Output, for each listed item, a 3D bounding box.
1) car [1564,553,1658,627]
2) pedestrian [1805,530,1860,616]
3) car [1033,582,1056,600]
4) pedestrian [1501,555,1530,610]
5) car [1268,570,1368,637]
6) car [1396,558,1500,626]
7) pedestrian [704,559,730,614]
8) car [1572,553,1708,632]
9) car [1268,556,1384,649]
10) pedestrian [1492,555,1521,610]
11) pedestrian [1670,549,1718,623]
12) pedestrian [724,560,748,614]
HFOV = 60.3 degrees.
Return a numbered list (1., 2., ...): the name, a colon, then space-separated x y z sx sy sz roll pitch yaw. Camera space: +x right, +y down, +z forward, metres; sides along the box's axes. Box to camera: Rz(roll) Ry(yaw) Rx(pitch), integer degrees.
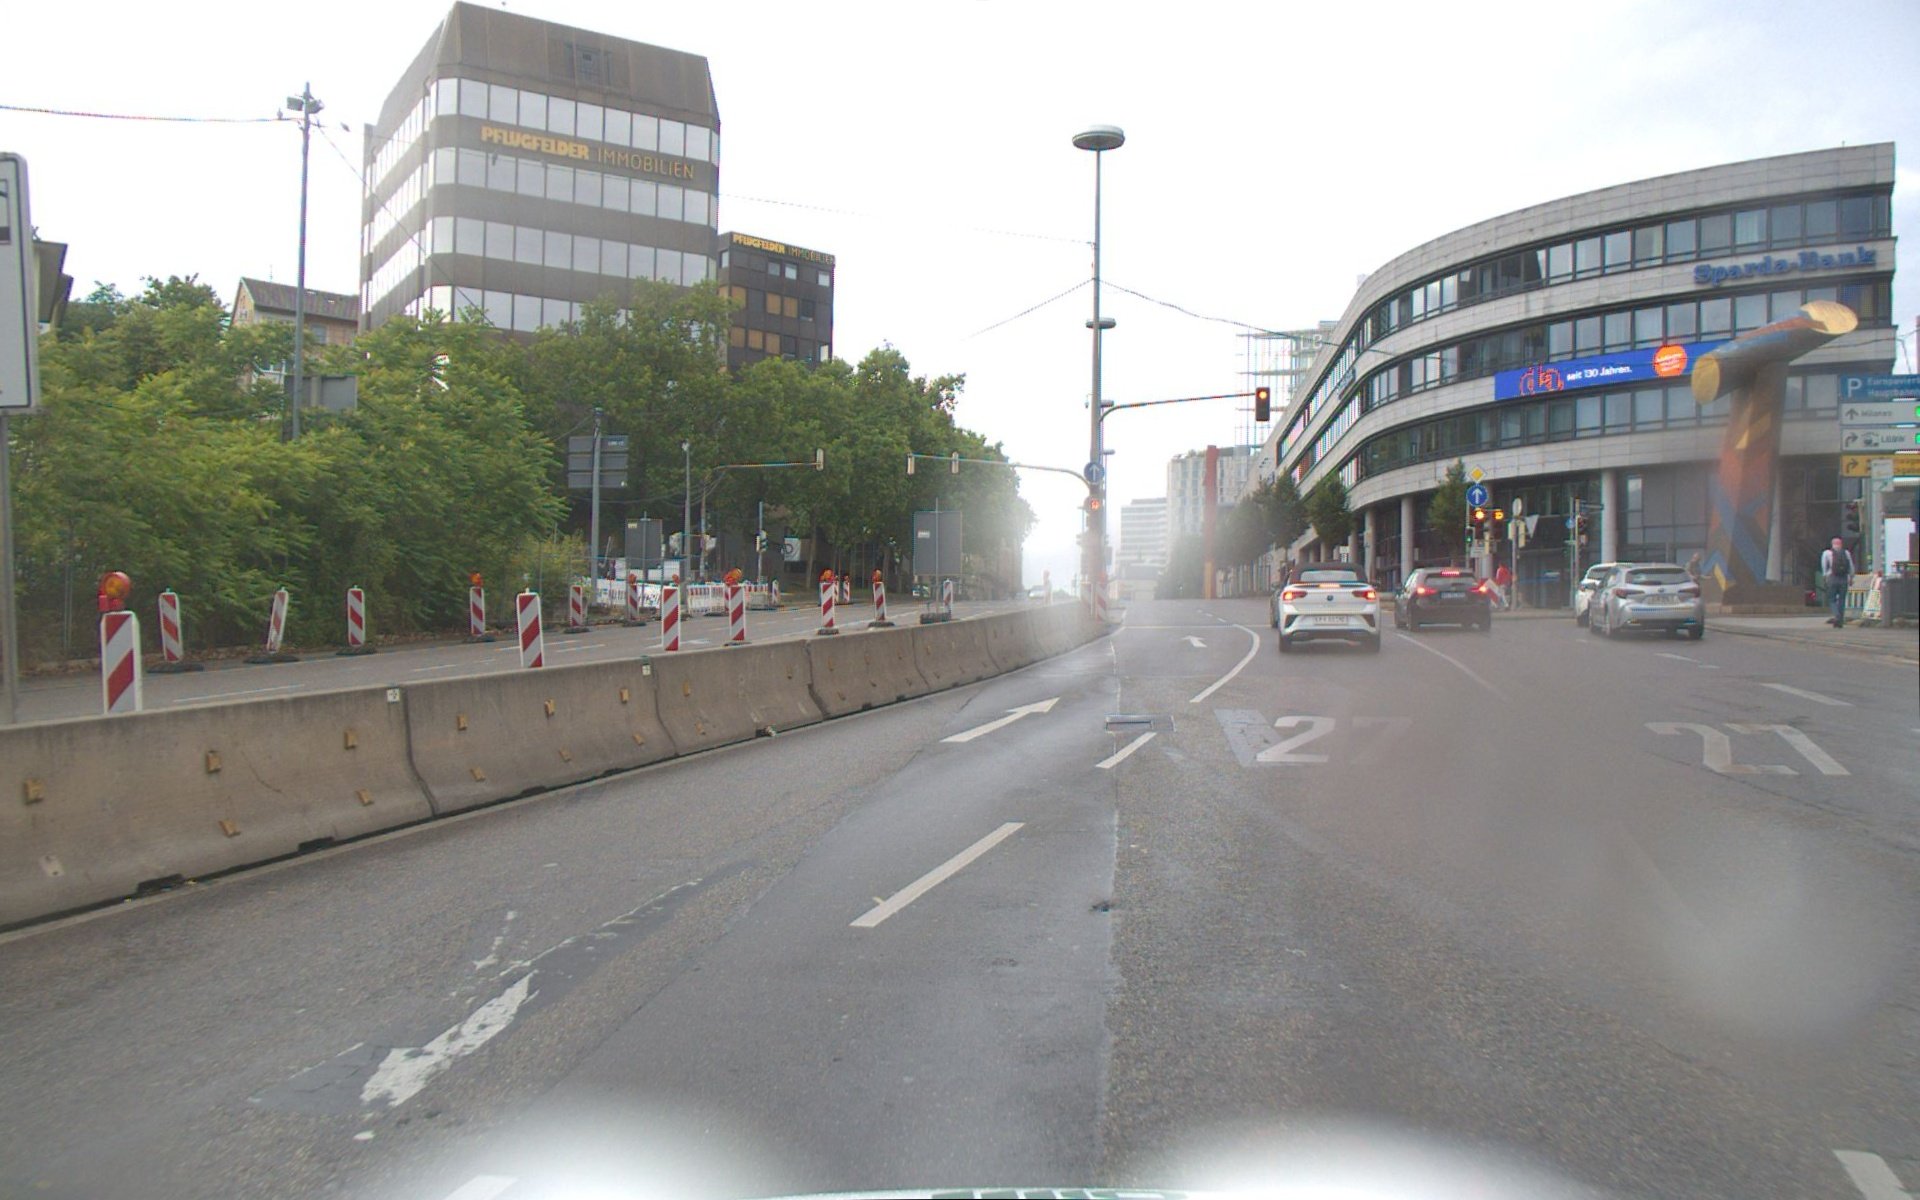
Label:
1. car: 15.684 -0.250 39.730 1.736 1.662 4.577 0 1 26
2. pedestrian: 17.887 -0.544 33.915 0.714 1.741 0.843 0 -2 6
3. car: 7.220 -0.749 140.385 1.724 1.486 4.363 -1 1 5
4. pedestrian: 20.096 -0.622 59.842 0.825 1.938 0.730 -1 -1 32
5. car: 8.310 0.070 38.661 1.703 1.468 4.002 0 0 4
6. car: 11.122 -0.151 37.929 1.717 1.432 4.231 2 0 9
7. pedestrian: -8.817 -0.491 60.048 0.745 1.956 0.742 0 -2 9
8. car: 13.667 -0.117 33.470 1.664 1.476 4.619 1 0 11
9. car: 6.622 0.019 30.204 1.922 1.576 4.222 0 0 11
10. pedestrian: 19.561 -0.613 59.188 0.825 1.938 0.859 -1 -2 32
11. pedestrian: 21.449 -0.408 48.329 0.839 2.135 0.900 2 0 -17
12. pedestrian: -8.106 -0.470 59.881 0.658 1.935 0.776 0 -2 9
